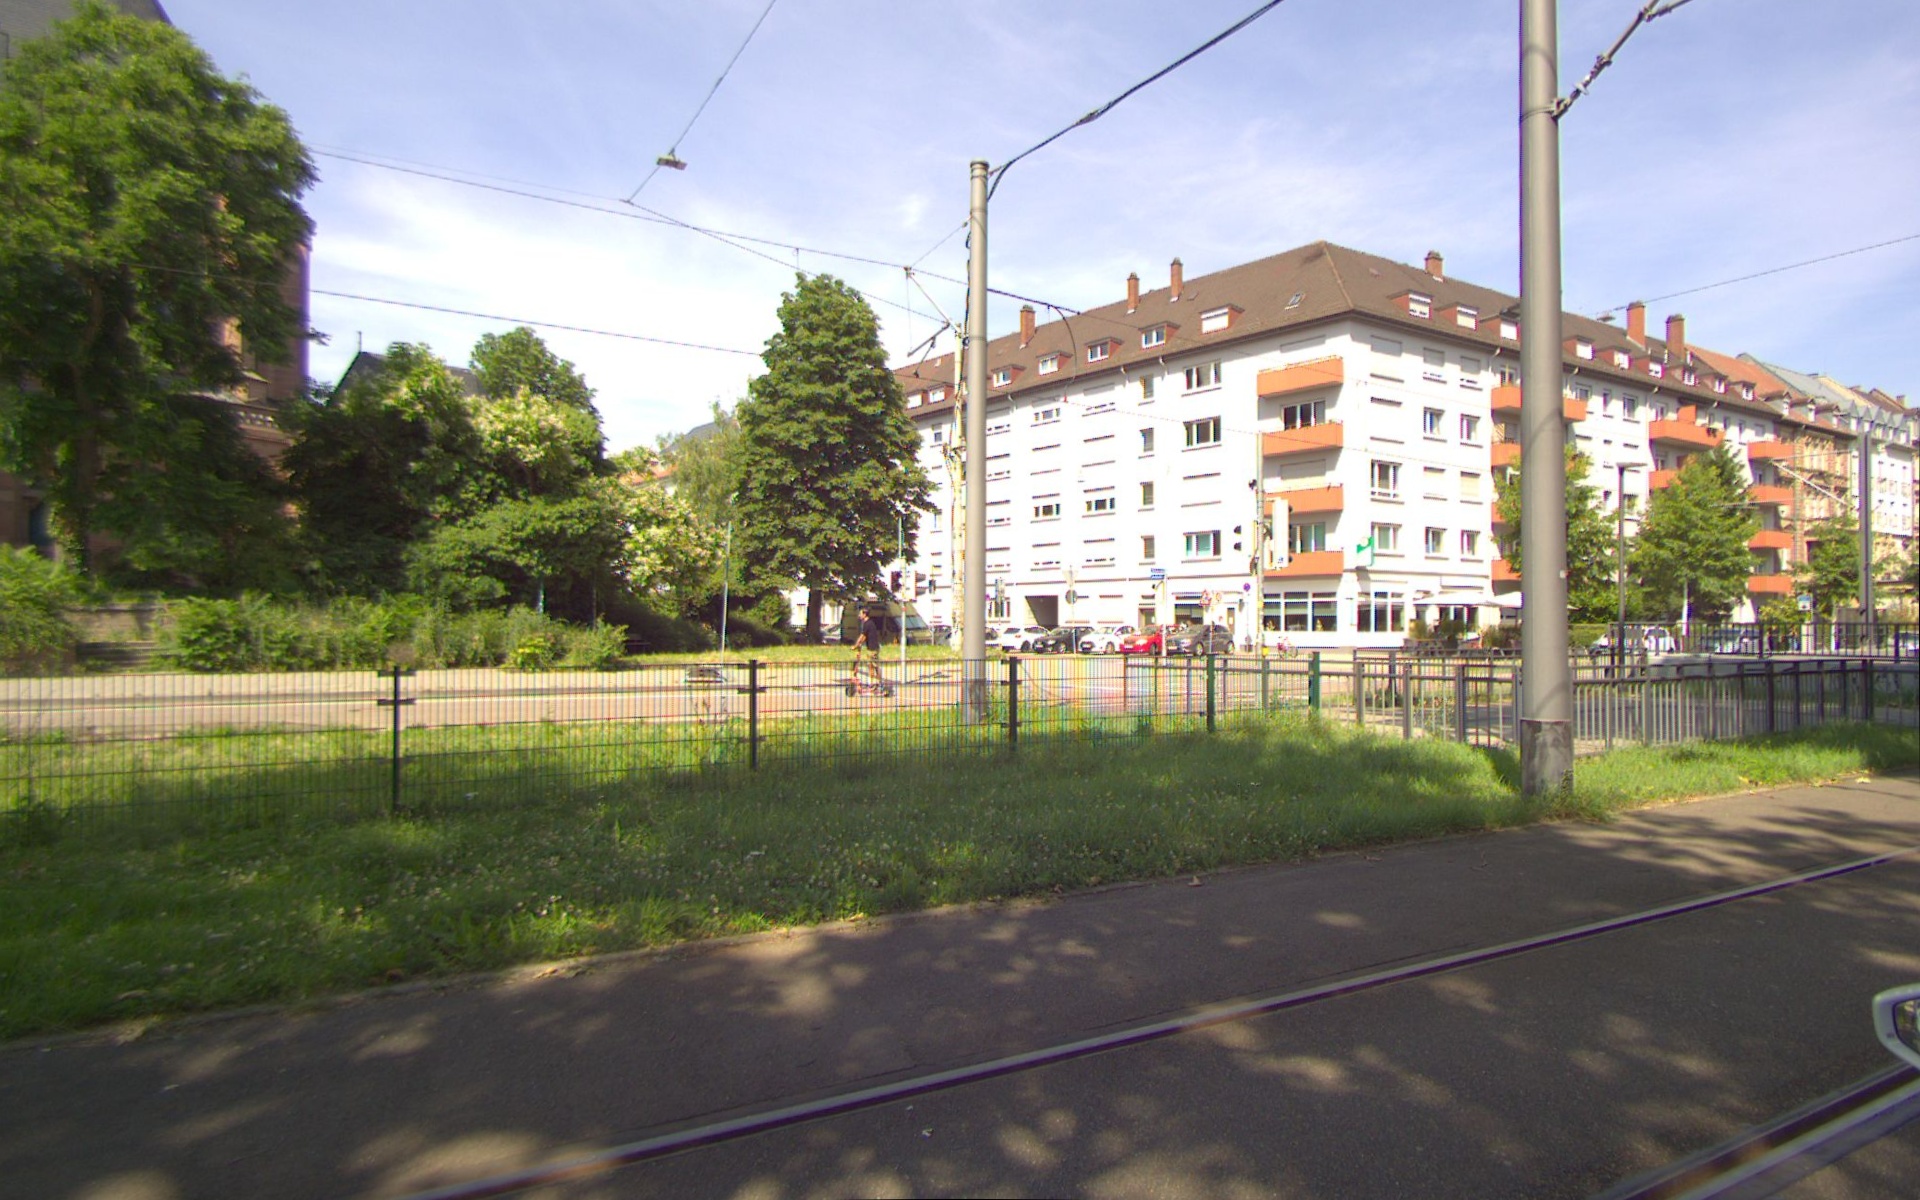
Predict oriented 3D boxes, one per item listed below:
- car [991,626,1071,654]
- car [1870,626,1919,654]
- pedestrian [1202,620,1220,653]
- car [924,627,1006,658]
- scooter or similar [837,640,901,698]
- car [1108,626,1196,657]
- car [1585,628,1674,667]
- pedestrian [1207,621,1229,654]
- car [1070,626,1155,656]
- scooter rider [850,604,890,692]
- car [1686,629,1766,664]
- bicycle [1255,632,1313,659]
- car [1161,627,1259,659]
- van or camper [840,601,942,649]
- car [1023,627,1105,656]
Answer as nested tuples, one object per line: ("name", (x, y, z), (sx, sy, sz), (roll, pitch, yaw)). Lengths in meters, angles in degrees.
("car", (3.864, 2.150, 54.535), (4.129, 1.425, 1.917), (1, -1, -38))
("car", (52.835, 2.229, 56.472), (3.961, 1.518, 1.758), (1, -2, -36))
("pedestrian", (12.358, 1.783, 49.440), (0.679, 1.593, 0.544), (0, -1, 36))
("car", (0.202, 1.977, 47.623), (3.702, 1.425, 1.823), (-1, -2, 44))
("scooter or similar", (-1.976, 1.485, 21.889), (1.245, 1.220, 0.658), (0, -1, 16))
("car", (9.263, 1.990, 48.380), (4.129, 1.425, 1.918), (1, -2, -38))
("car", (27.329, 1.929, 40.971), (3.961, 1.518, 1.759), (1, -3, -36))
("pedestrian", (12.813, 1.864, 49.914), (0.846, 1.593, 0.688), (-1, -1, 36))
("car", (7.719, 2.047, 50.695), (4.129, 1.425, 1.918), (1, -2, -38))
("scooter rider", (-1.953, 1.037, 21.888), (0.655, 1.891, 0.664), (0, -1, 16))
("car", (34.595, 2.067, 45.345), (3.961, 1.518, 1.759), (1, -3, -36))
("bicycle", (14.194, 1.977, 43.923), (2.779, 1.152, 0.905), (1, -1, -34))
("car", (11.431, 1.936, 45.787), (4.598, 1.394, 1.821), (1, -2, -36))
("van or camper", (-3.629, 1.271, 52.014), (2.228, 2.360, 5.704), (1, -2, -42))
("car", (5.429, 2.125, 52.258), (4.129, 1.425, 1.918), (1, -2, -38))
